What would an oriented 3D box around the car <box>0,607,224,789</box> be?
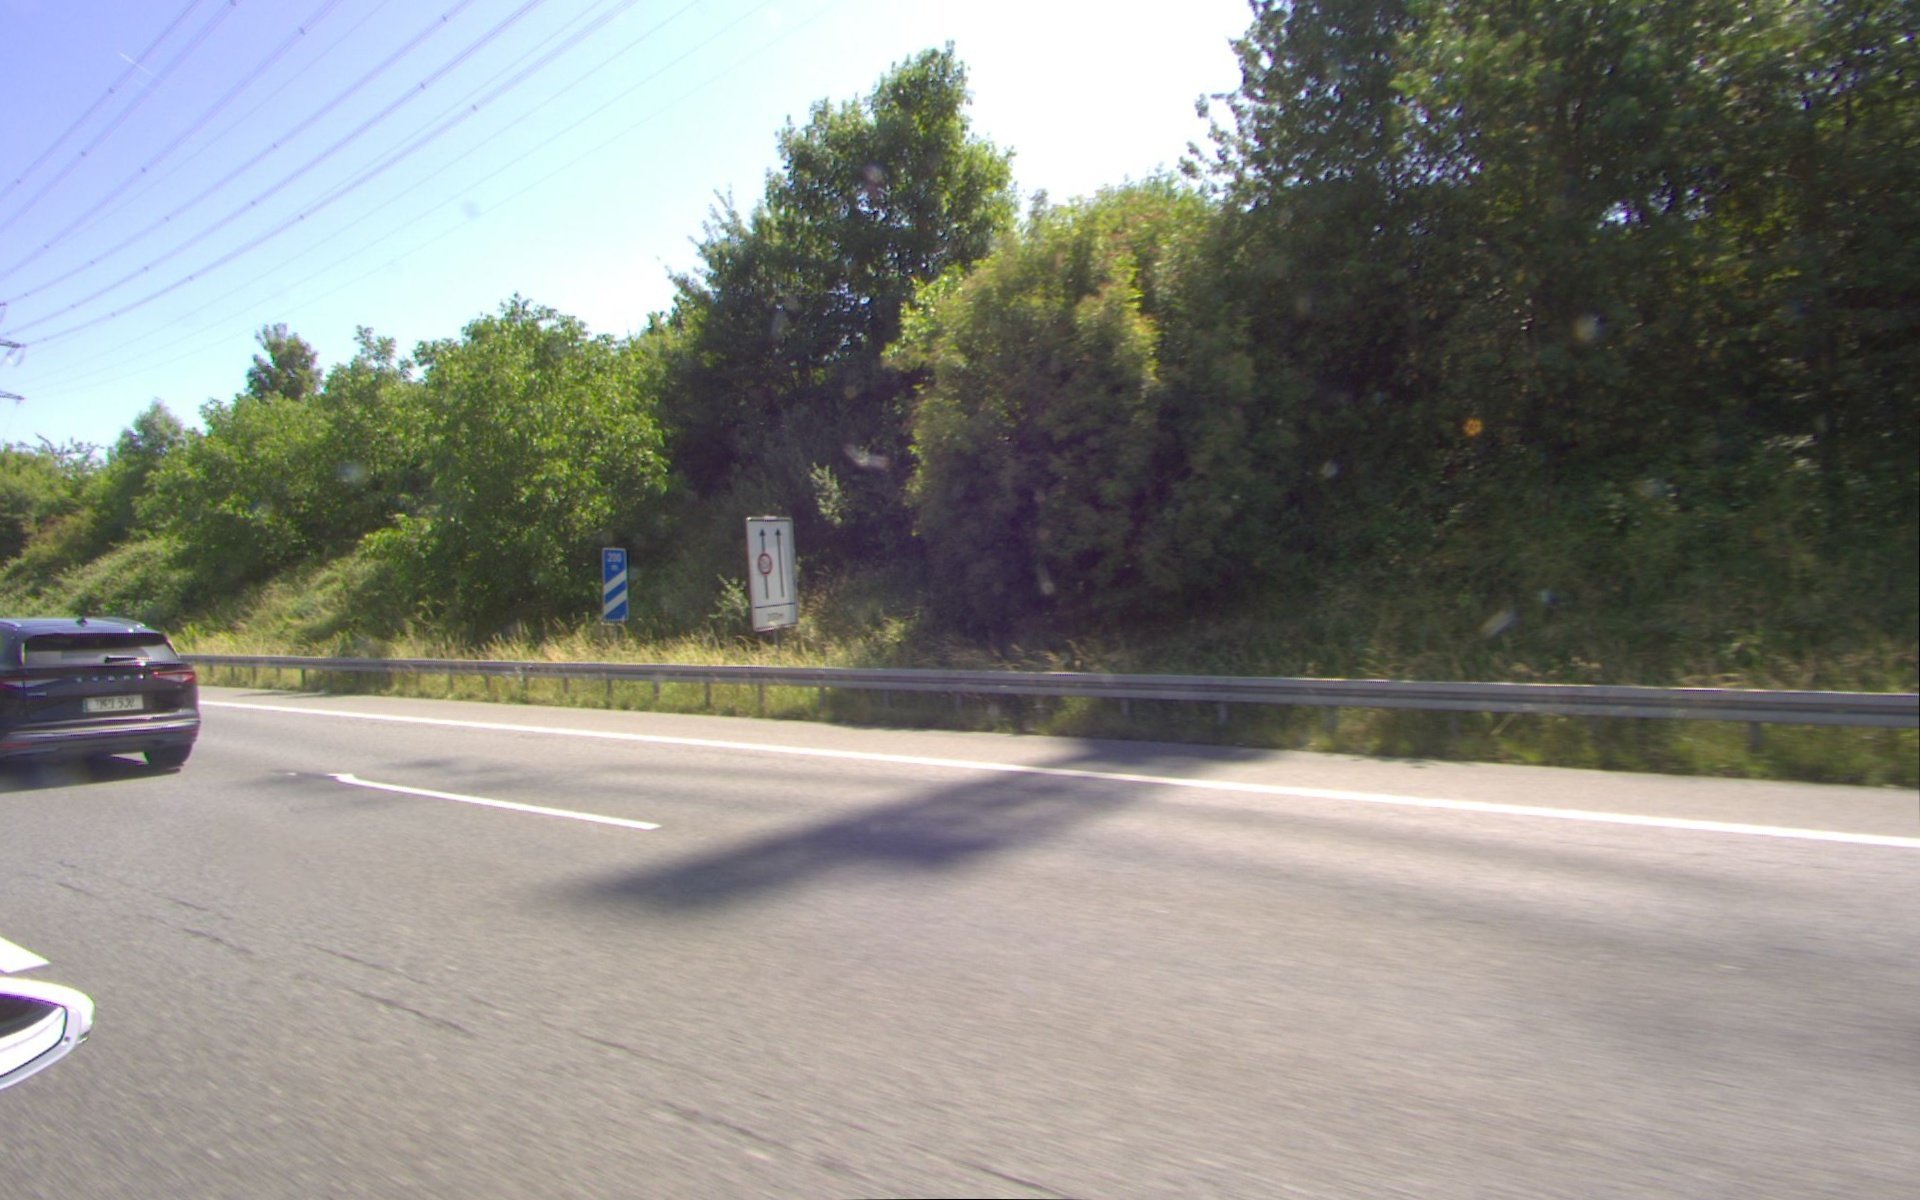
[{"bbox_3d":[-10.066,0.938,10.917,4.367,1.635,1.825,-1,-1,32],"label":"car"}]
